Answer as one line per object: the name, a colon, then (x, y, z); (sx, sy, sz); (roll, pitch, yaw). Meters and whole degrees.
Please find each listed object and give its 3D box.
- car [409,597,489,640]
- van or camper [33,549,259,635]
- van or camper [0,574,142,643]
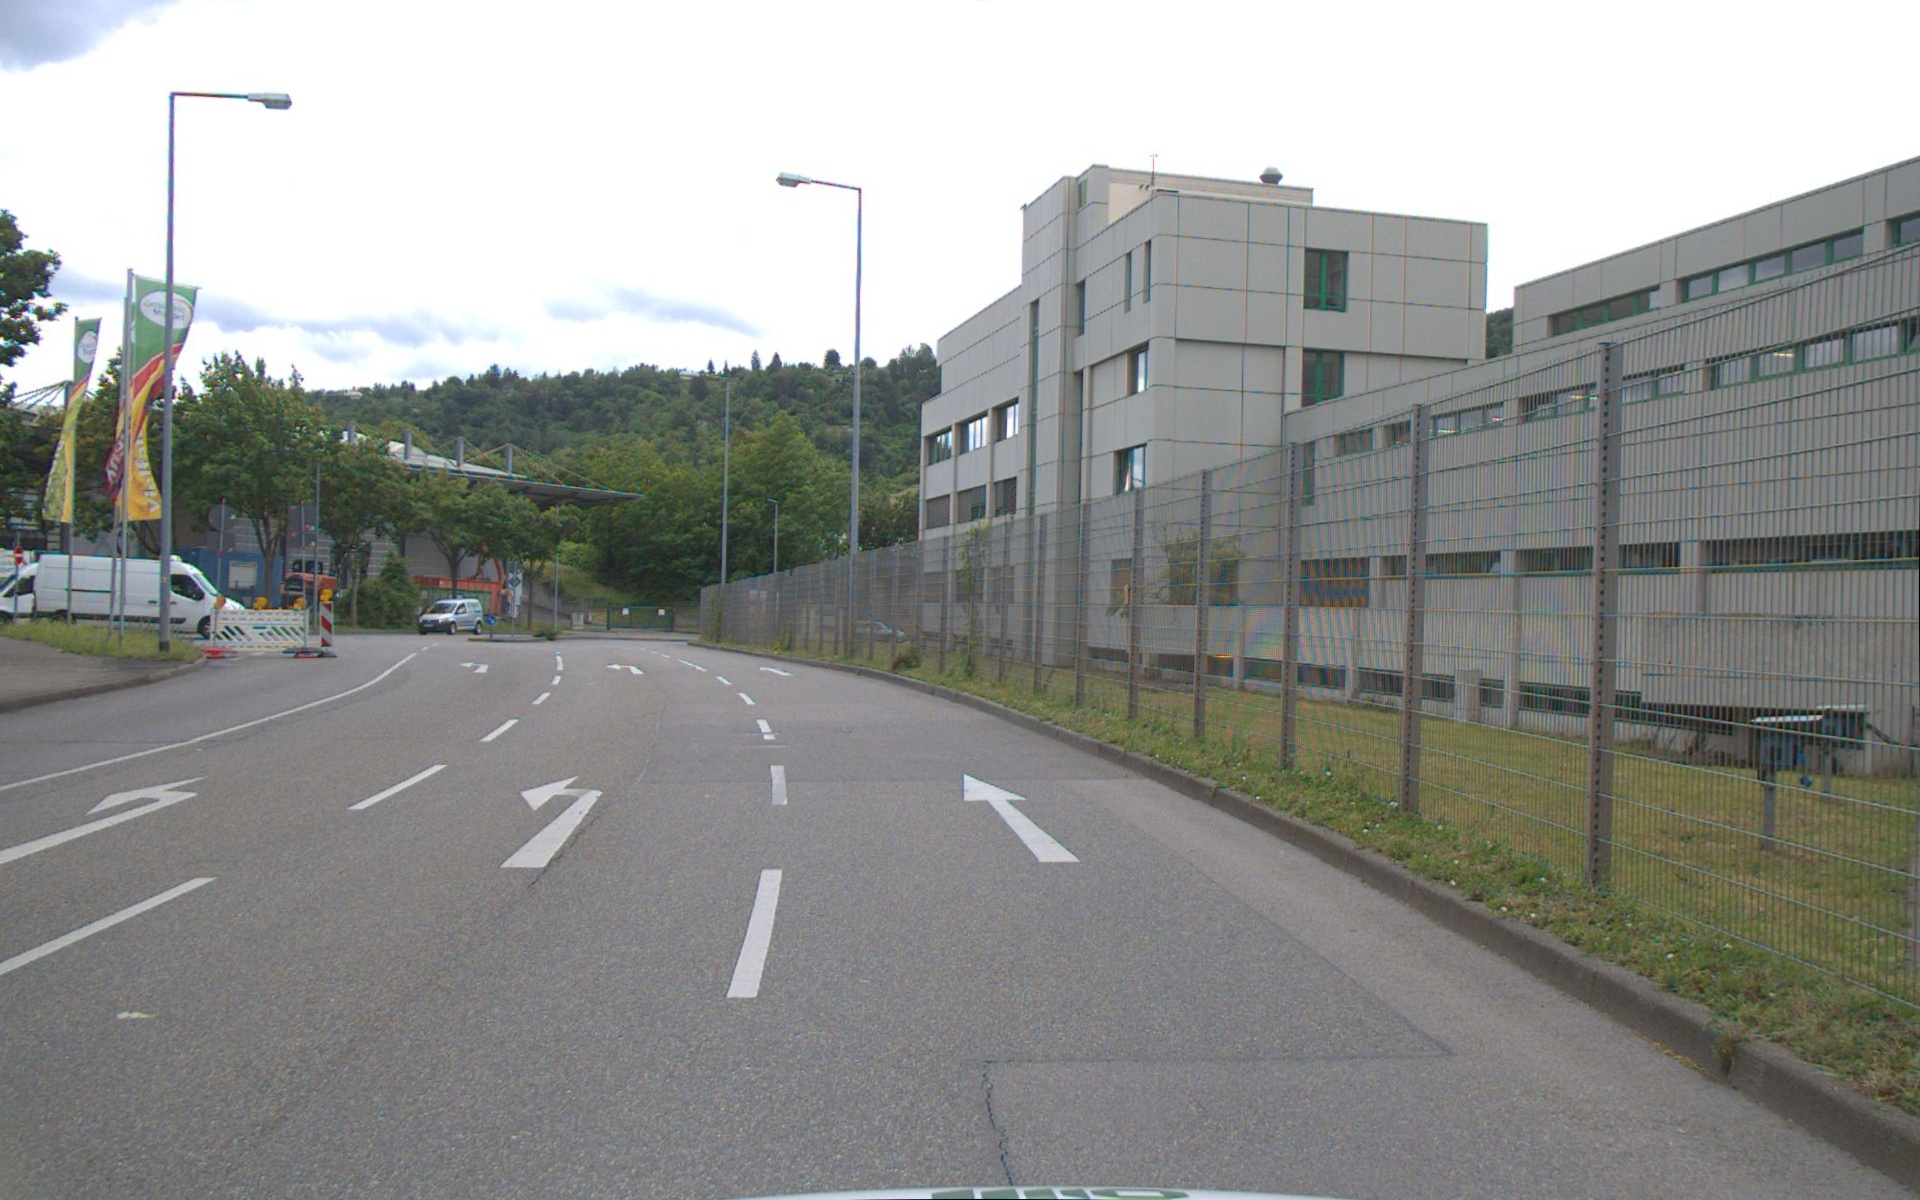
car: (-25.922, 0.932, 84.047); (1.951, 2.049, 4.134); (2, 0, 13)
van or camper: (-25.724, -0.215, 52.532); (5.882, 2.286, 2.388); (4, -2, -13)
van or camper: (-33.588, 0.319, 60.336); (6.563, 2.367, 1.994); (2, -2, -31)
